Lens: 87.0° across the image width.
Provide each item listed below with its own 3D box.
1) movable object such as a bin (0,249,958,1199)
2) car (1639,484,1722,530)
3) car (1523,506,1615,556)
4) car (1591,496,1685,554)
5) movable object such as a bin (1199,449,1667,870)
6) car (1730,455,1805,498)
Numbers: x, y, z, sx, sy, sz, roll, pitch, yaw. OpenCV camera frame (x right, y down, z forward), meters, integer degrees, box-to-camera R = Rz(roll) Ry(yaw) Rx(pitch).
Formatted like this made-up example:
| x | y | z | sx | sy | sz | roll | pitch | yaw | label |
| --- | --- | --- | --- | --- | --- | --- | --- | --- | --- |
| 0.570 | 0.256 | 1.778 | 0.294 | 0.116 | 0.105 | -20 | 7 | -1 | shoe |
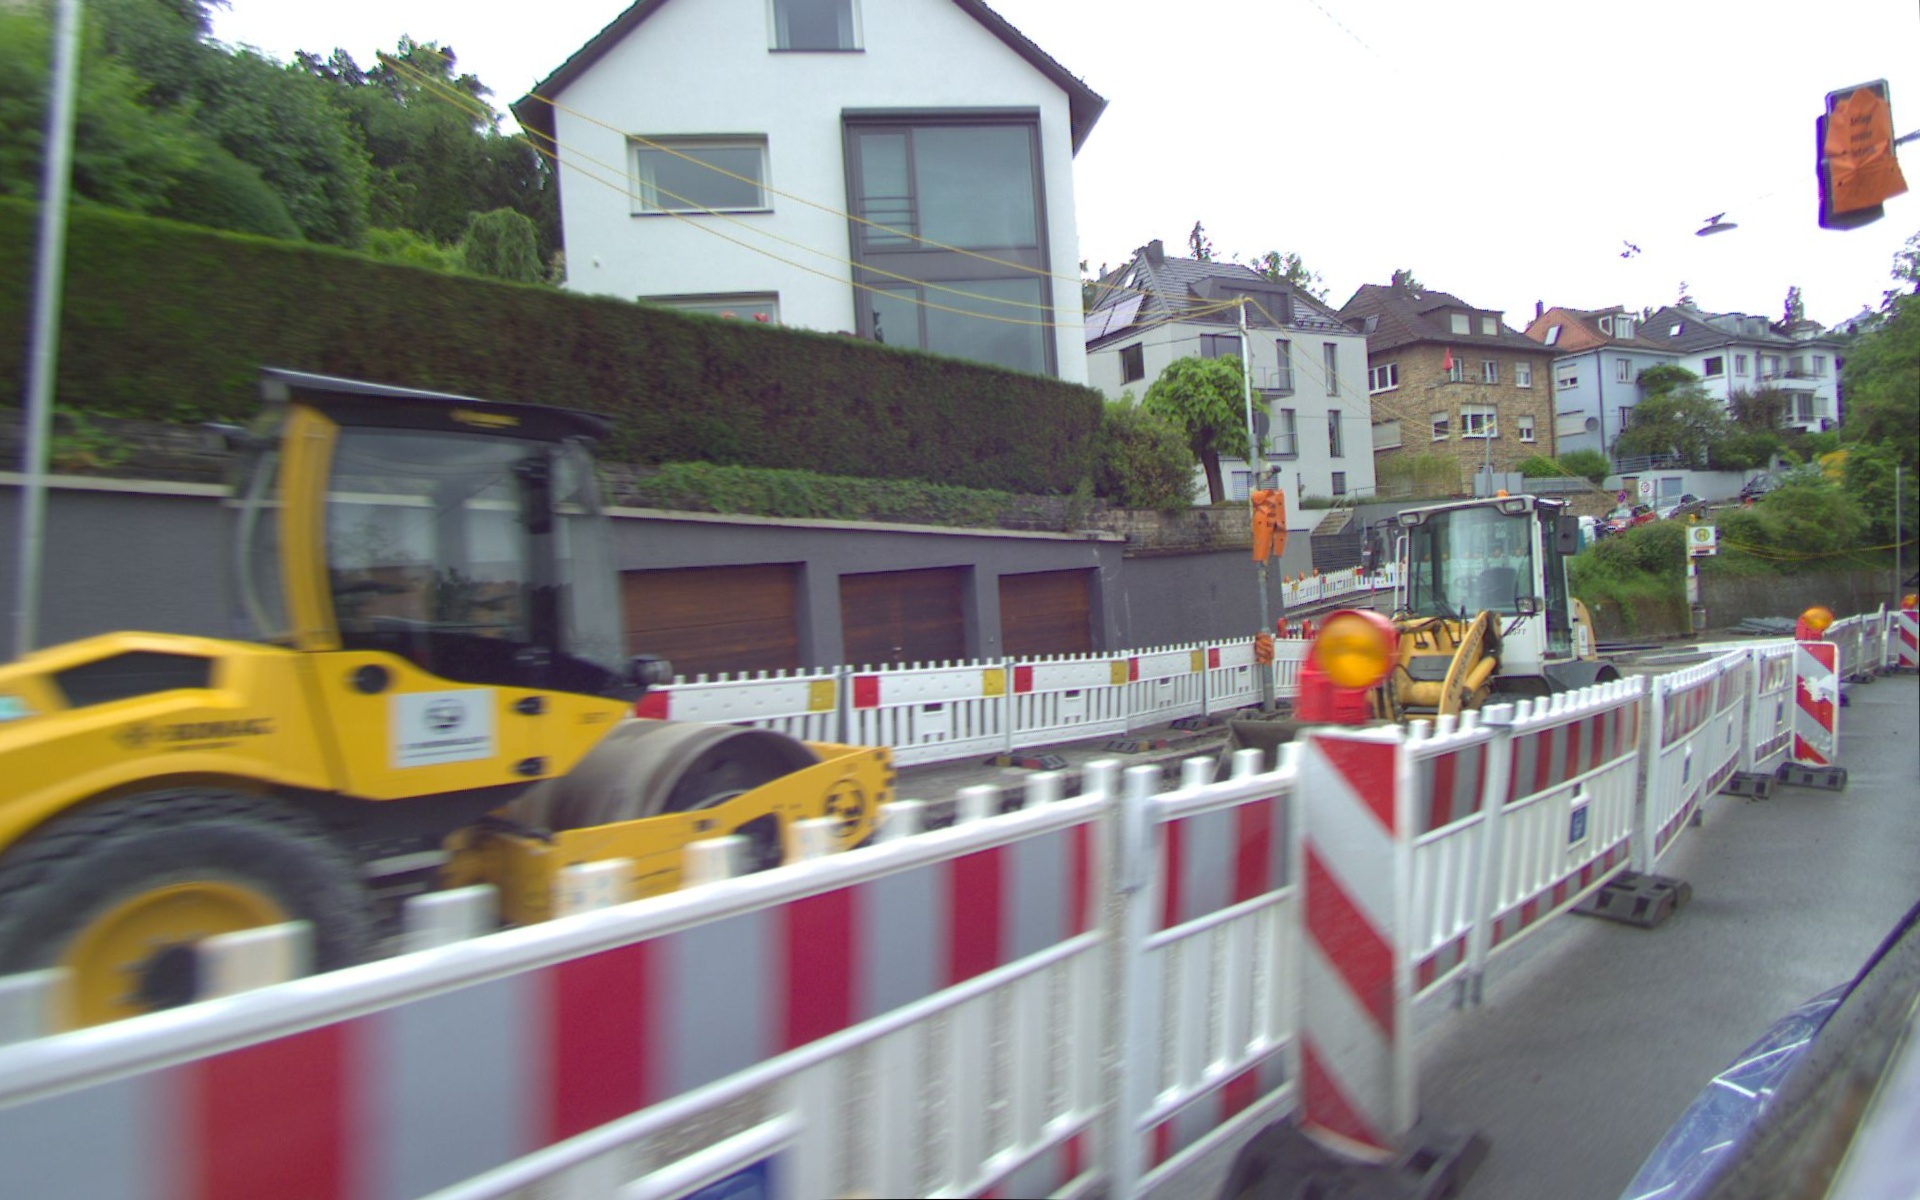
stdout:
| x | y | z | sx | sy | sz | roll | pitch | yaw | label |
| --- | --- | --- | --- | --- | --- | --- | --- | --- | --- |
| -2.746 | 0.390 | 4.621 | 5.582 | 2.874 | 2.088 | 0 | -1 | -44 | movable object such as a bin |
| 35.869 | -4.632 | 50.373 | 3.892 | 1.653 | 1.863 | -11 | 6 | -29 | car |
| 27.586 | -3.141 | 45.812 | 3.764 | 1.653 | 1.863 | -11 | 6 | -29 | car |
| 32.338 | -3.580 | 48.241 | 4.349 | 2.100 | 1.904 | -11 | 6 | -29 | car |
| 4.761 | 0.291 | 9.605 | 5.585 | 2.873 | 2.088 | -4 | 1 | -44 | movable object such as a bin |
| 44.643 | -6.824 | 55.930 | 3.893 | 1.652 | 1.863 | -12 | 7 | -29 | car |
